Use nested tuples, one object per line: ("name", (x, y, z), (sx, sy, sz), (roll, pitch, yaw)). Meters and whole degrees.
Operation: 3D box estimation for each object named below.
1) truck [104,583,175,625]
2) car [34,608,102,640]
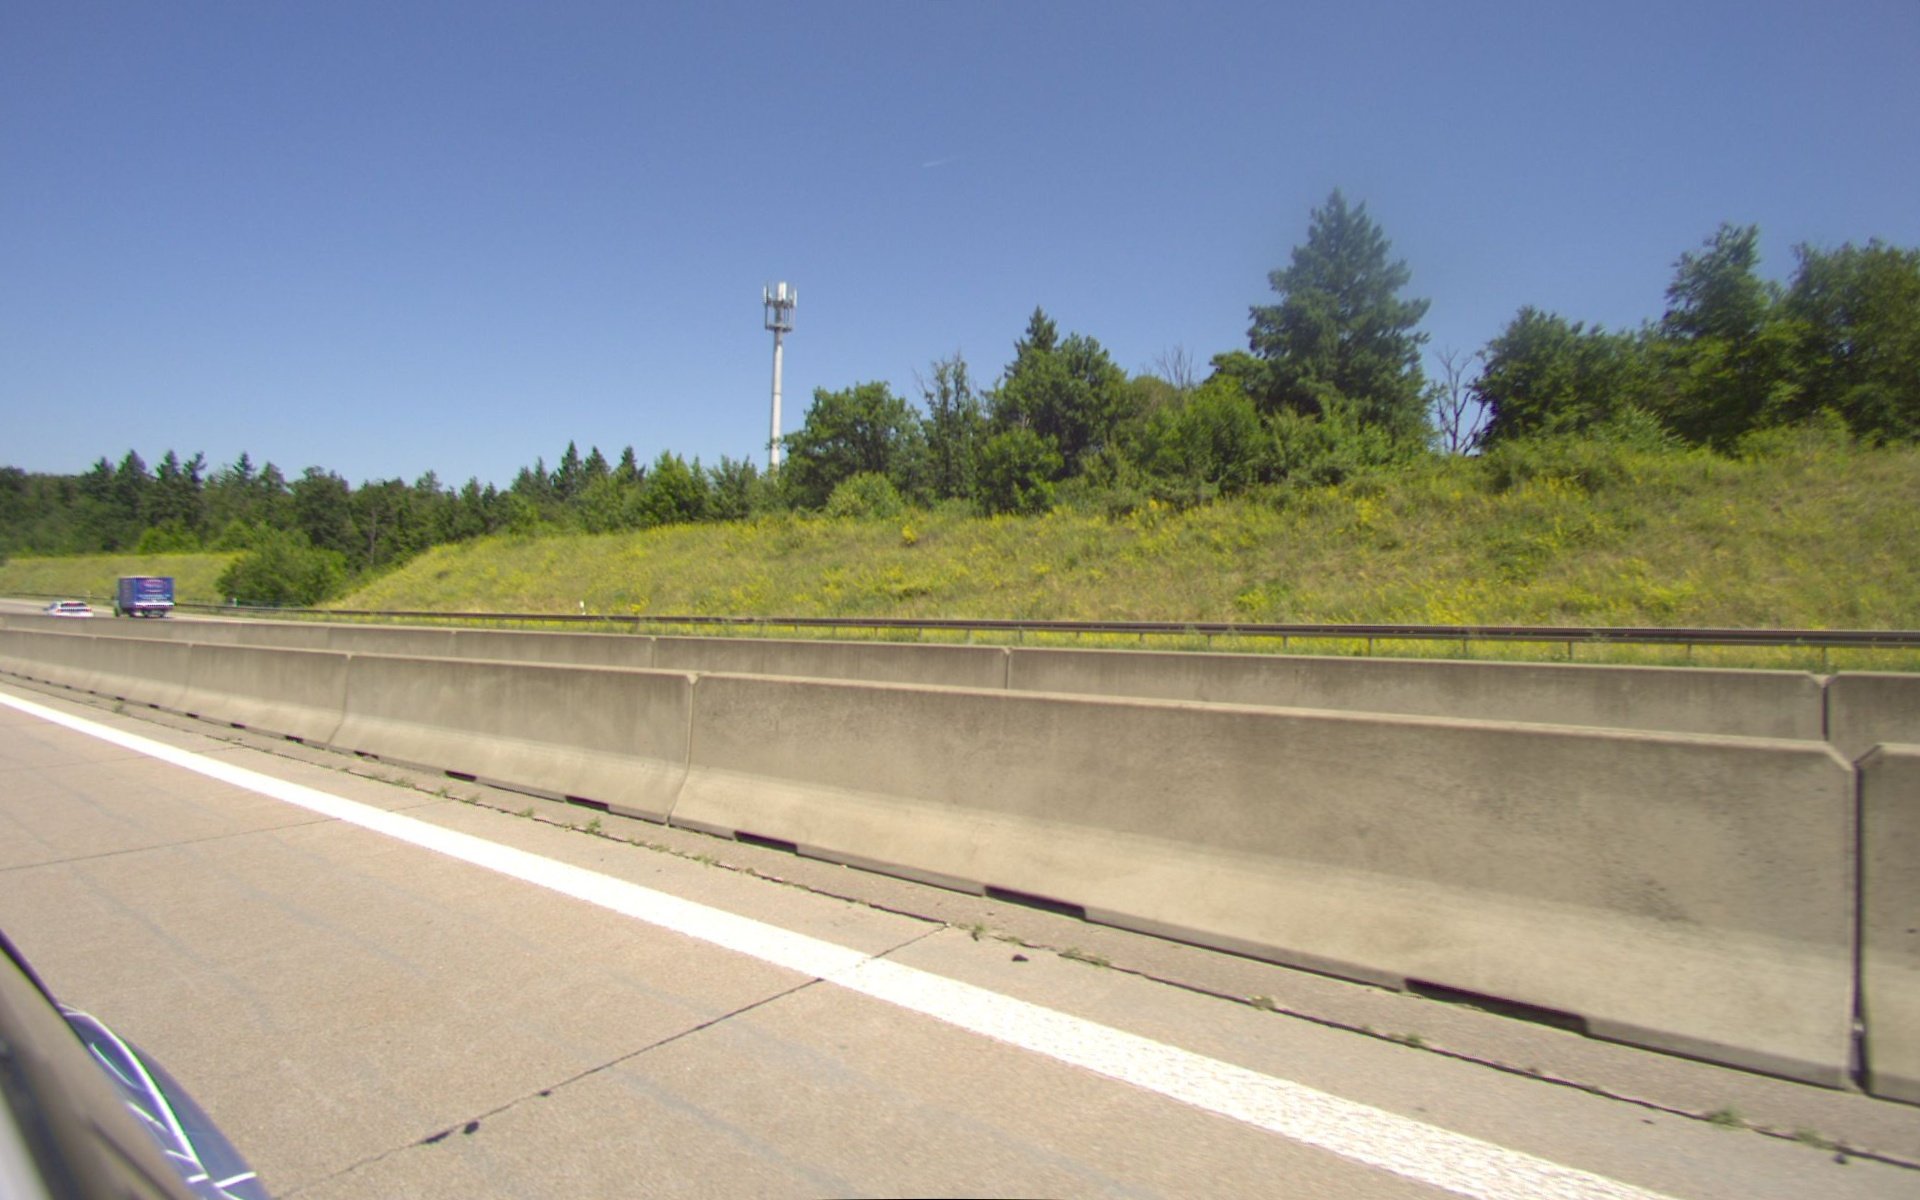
("truck", (-60.638, 0.279, 74.709), (7.827, 3.011, 2.537), (0, 0, 39))
("car", (-48.692, 1.266, 55.211), (4.405, 1.617, 1.975), (0, 0, 38))
